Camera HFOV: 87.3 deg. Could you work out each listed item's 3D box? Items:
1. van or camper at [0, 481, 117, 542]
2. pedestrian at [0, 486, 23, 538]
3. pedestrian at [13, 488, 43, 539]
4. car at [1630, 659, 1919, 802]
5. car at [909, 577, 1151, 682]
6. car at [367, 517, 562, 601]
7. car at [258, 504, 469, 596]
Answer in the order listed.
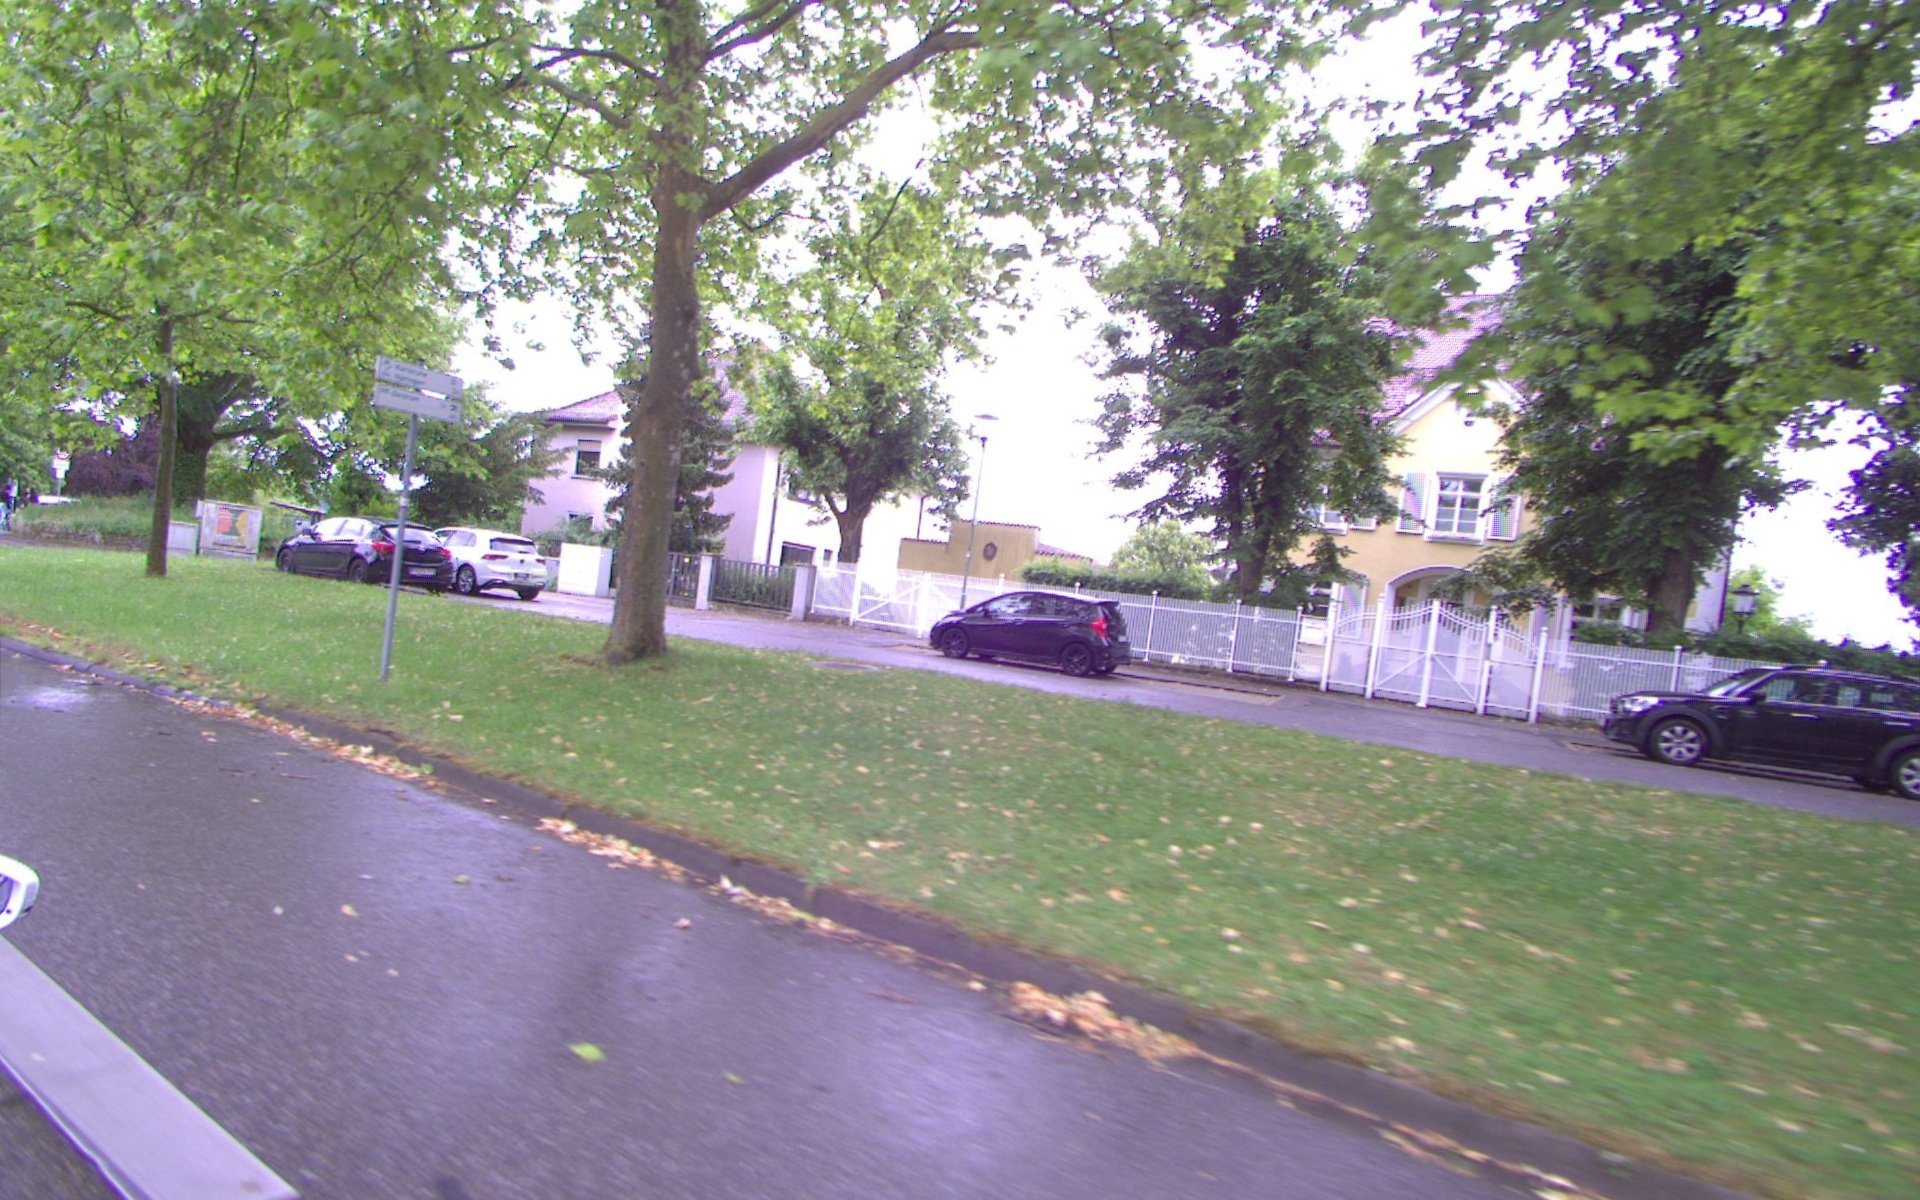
[{"bbox_3d":[-48.283,-4.661,53.913,2.166,2.405,5.658,7,-2,-13],"label":"van or camper"},{"bbox_3d":[-33.572,-3.094,35.367,0.624,1.733,0.530,7,-1,17],"label":"pedestrian"},{"bbox_3d":[-33.736,-3.130,36.406,0.632,1.733,0.523,8,-1,-43],"label":"pedestrian"},{"bbox_3d":[12.057,1.853,14.126,4.052,1.488,1.999,6,-2,27],"label":"car"},{"bbox_3d":[1.365,0.568,19.818,4.281,1.488,1.765,6,-2,27],"label":"car"},{"bbox_3d":[-11.501,-0.957,23.296,4.350,1.490,1.847,6,1,29],"label":"car"},{"bbox_3d":[-12.524,-1.053,21.044,4.520,1.490,1.766,6,1,30],"label":"car"}]
